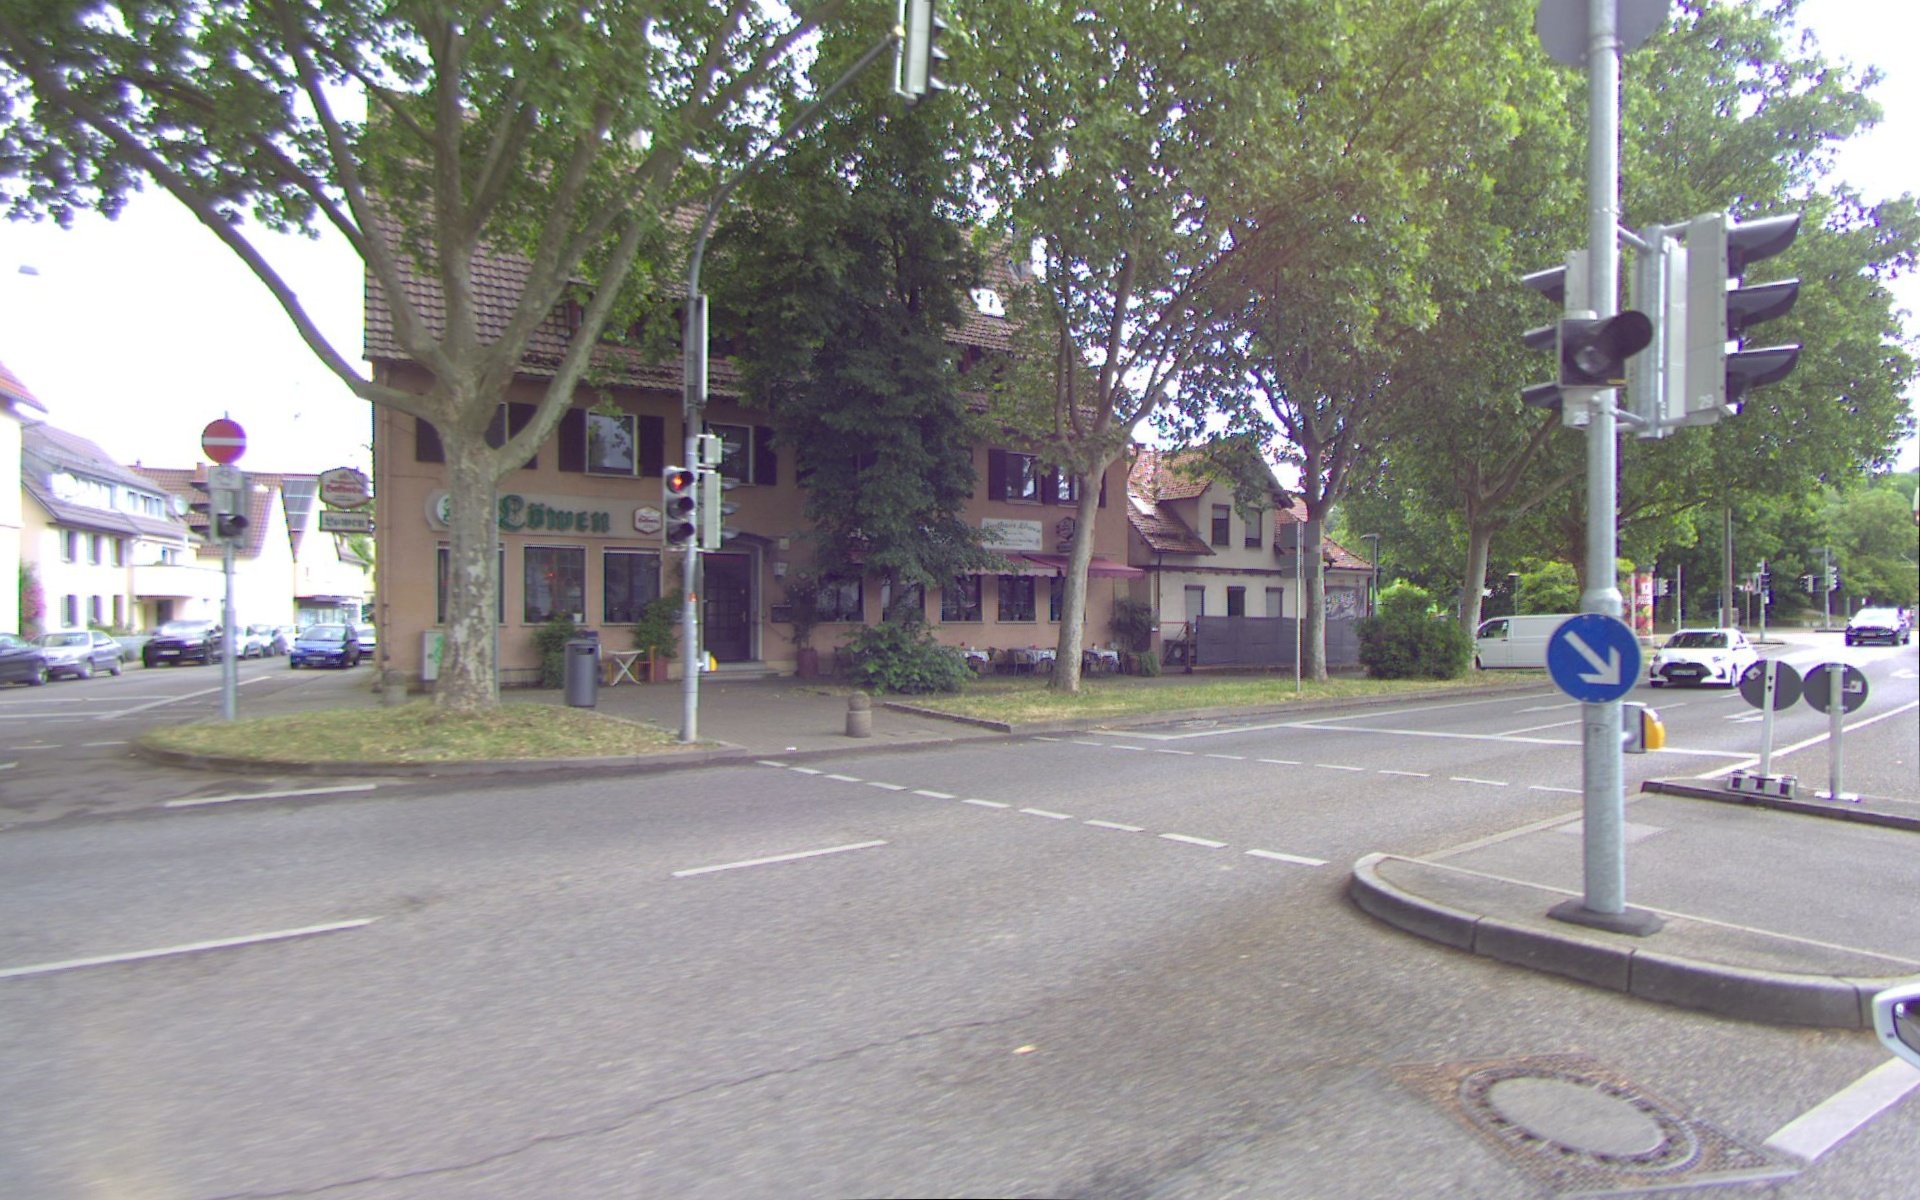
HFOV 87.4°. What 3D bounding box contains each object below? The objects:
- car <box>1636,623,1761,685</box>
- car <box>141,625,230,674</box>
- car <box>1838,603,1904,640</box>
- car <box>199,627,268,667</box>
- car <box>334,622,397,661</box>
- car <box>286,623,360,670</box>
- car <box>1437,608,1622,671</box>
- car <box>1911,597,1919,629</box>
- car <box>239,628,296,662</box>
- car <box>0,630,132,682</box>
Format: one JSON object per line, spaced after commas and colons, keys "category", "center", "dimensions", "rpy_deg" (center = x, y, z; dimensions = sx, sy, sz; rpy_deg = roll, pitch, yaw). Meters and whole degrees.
{"category": "car", "center": [19.185, 1.357, 26.043], "dimensions": [3.990, 1.485, 1.747], "rpy_deg": [1, -2, -41]}
{"category": "car", "center": [-29.172, 1.807, 37.954], "dimensions": [1.721, 1.706, 3.822], "rpy_deg": [0, -1, -23]}
{"category": "car", "center": [42.793, 0.995, 47.160], "dimensions": [4.381, 1.608, 1.781], "rpy_deg": [-1, -2, -42]}
{"category": "car", "center": [-31.510, 2.003, 43.643], "dimensions": [1.804, 1.534, 3.644], "rpy_deg": [0, 0, -26]}
{"category": "car", "center": [-26.320, 1.799, 44.579], "dimensions": [1.740, 1.574, 3.696], "rpy_deg": [0, -1, -21]}
{"category": "car", "center": [-22.572, 1.617, 35.698], "dimensions": [1.804, 1.534, 3.644], "rpy_deg": [1, -1, -26]}
{"category": "car", "center": [19.043, 1.345, 33.716], "dimensions": [5.160, 1.956, 2.076], "rpy_deg": [-3, -2, 37]}
{"category": "car", "center": [56.136, 0.723, 57.358], "dimensions": [4.707, 1.787, 1.897], "rpy_deg": [-1, 0, -37]}
{"category": "car", "center": [-34.601, 2.204, 50.298], "dimensions": [1.804, 1.534, 3.644], "rpy_deg": [0, 0, -26]}
{"category": "car", "center": [-25.312, 1.539, 28.560], "dimensions": [1.688, 1.332, 3.843], "rpy_deg": [1, -1, -23]}
